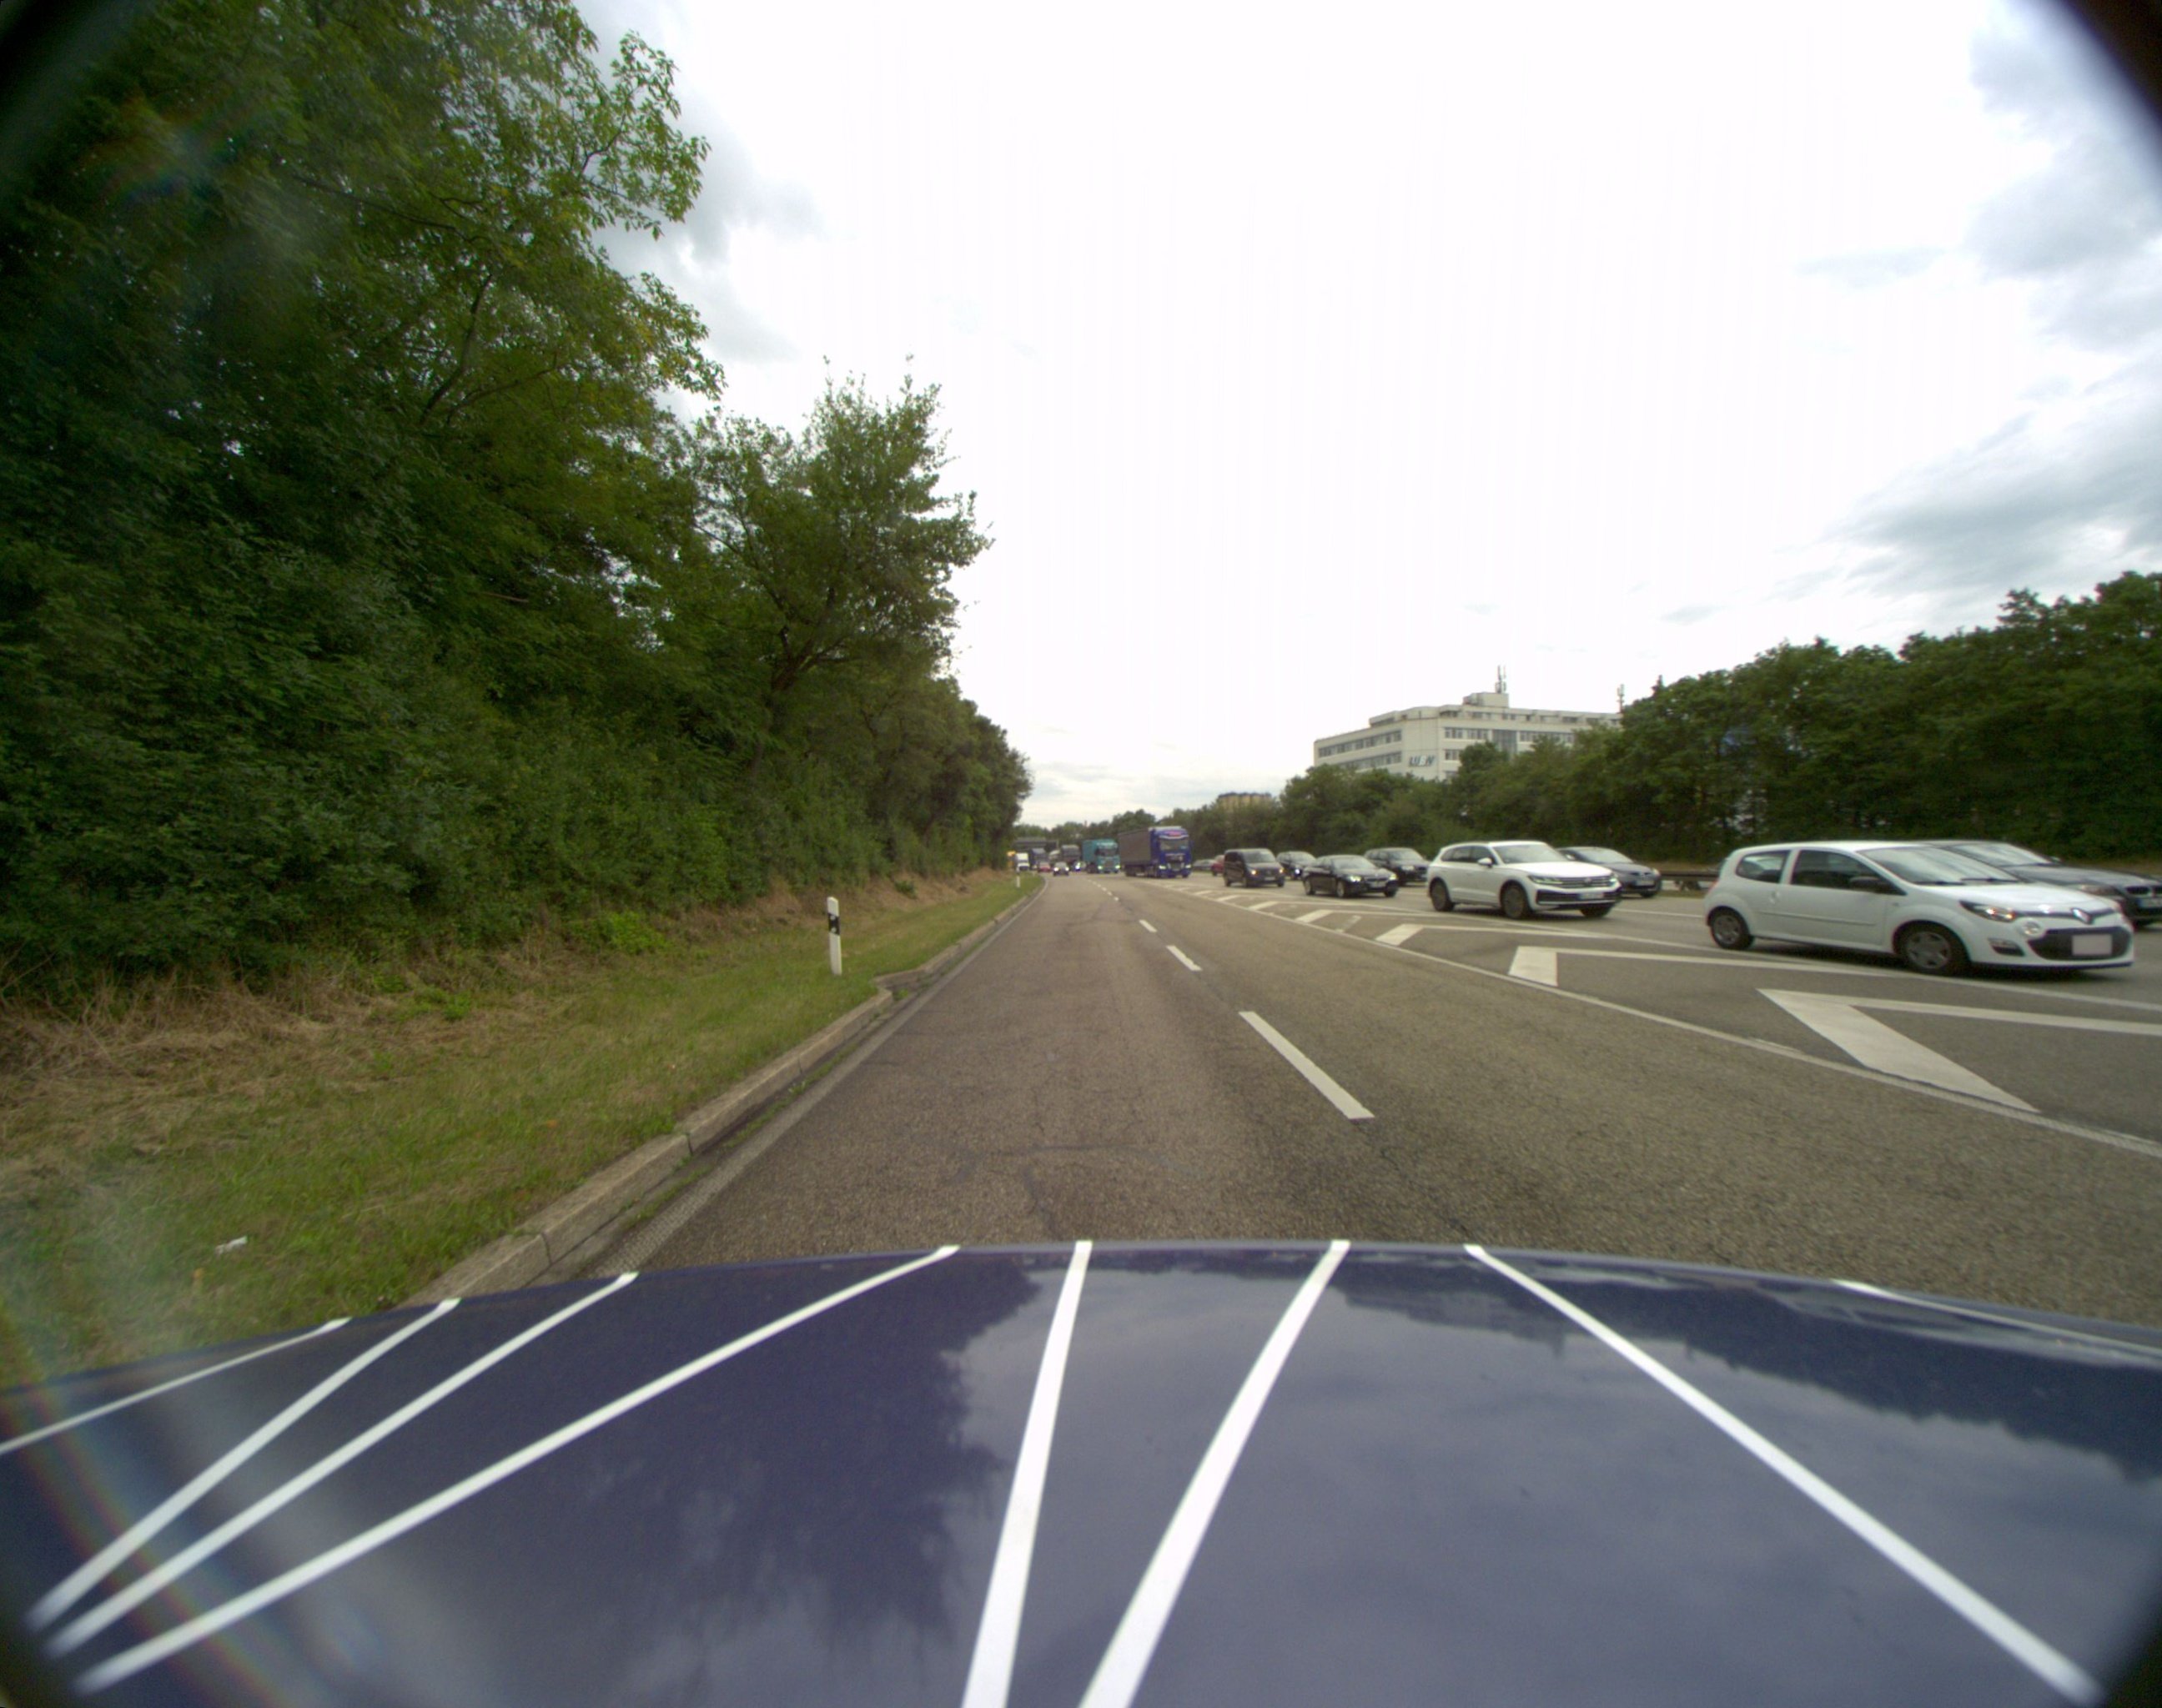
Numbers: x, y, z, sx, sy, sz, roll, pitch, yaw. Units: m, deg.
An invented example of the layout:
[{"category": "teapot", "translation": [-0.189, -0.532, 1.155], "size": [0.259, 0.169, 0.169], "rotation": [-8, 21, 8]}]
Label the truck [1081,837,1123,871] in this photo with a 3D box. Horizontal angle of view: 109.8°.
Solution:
[{"category": "truck", "translation": [2.359, 0.038, 89.980], "size": [2.939, 3.774, 11.322], "rotation": [-1, 0, -9]}]

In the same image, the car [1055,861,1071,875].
[{"category": "car", "translation": [-2.006, 1.501, 83.724], "size": [1.628, 1.433, 3.999], "rotation": [-1, 0, -3]}]

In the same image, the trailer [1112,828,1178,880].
[{"category": "trailer", "translation": [5.388, 0.002, 67.481], "size": [2.635, 3.999, 13.452], "rotation": [-3, 0, -9]}]

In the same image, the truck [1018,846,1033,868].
[{"category": "truck", "translation": [-10.103, 0.525, 137.538], "size": [2.255, 3.949, 6.623], "rotation": [-2, 0, -8]}]

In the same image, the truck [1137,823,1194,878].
[{"category": "truck", "translation": [6.602, -0.295, 60.254], "size": [2.569, 4.019, 6.583], "rotation": [-3, 1, -10]}]

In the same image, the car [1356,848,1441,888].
[{"category": "car", "translation": [13.738, 0.583, 33.123], "size": [1.650, 1.602, 3.998], "rotation": [-1, 0, -6]}]

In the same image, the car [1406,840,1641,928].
[{"category": "car", "translation": [9.716, 0.596, 17.379], "size": [1.916, 1.650, 5.378], "rotation": [-1, 0, -4]}]

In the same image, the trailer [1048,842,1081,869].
[{"category": "trailer", "translation": [-2.823, 0.231, 121.950], "size": [2.848, 4.012, 13.073], "rotation": [-2, 0, -12]}]

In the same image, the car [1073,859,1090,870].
[{"category": "car", "translation": [0.040, 1.475, 102.852], "size": [1.753, 1.413, 3.661], "rotation": [-1, 0, -9]}]

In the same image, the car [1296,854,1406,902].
[{"category": "car", "translation": [9.438, 0.784, 27.002], "size": [1.852, 1.451, 4.829], "rotation": [-2, 0, -4]}]

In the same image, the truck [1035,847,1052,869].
[{"category": "truck", "translation": [-7.043, 0.684, 141.380], "size": [2.547, 3.949, 6.470], "rotation": [-1, 0, -8]}]

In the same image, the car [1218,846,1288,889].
[{"category": "car", "translation": [8.495, 0.653, 38.048], "size": [1.999, 1.894, 5.078], "rotation": [-3, 0, -4]}]

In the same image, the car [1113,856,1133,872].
[{"category": "car", "translation": [5.391, 1.239, 97.835], "size": [1.674, 2.002, 3.997], "rotation": [-1, 0, -10]}]

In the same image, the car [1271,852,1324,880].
[{"category": "car", "translation": [12.729, 0.686, 44.812], "size": [1.691, 1.564, 3.998], "rotation": [-1, 0, -5]}]

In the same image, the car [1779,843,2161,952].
[{"category": "car", "translation": [14.995, 0.590, 12.951], "size": [1.718, 1.440, 4.700], "rotation": [-2, 0, -2]}]

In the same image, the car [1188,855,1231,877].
[{"category": "car", "translation": [9.924, 0.897, 58.884], "size": [2.000, 1.609, 4.785], "rotation": [-1, 0, -6]}]

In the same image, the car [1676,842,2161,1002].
[{"category": "car", "translation": [9.665, 0.658, 9.239], "size": [1.582, 1.482, 4.035], "rotation": [-1, 0, -2]}]

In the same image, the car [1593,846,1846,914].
[{"category": "car", "translation": [15.363, 0.587, 18.743], "size": [1.999, 1.406, 4.806], "rotation": [-1, 0, -3]}]
